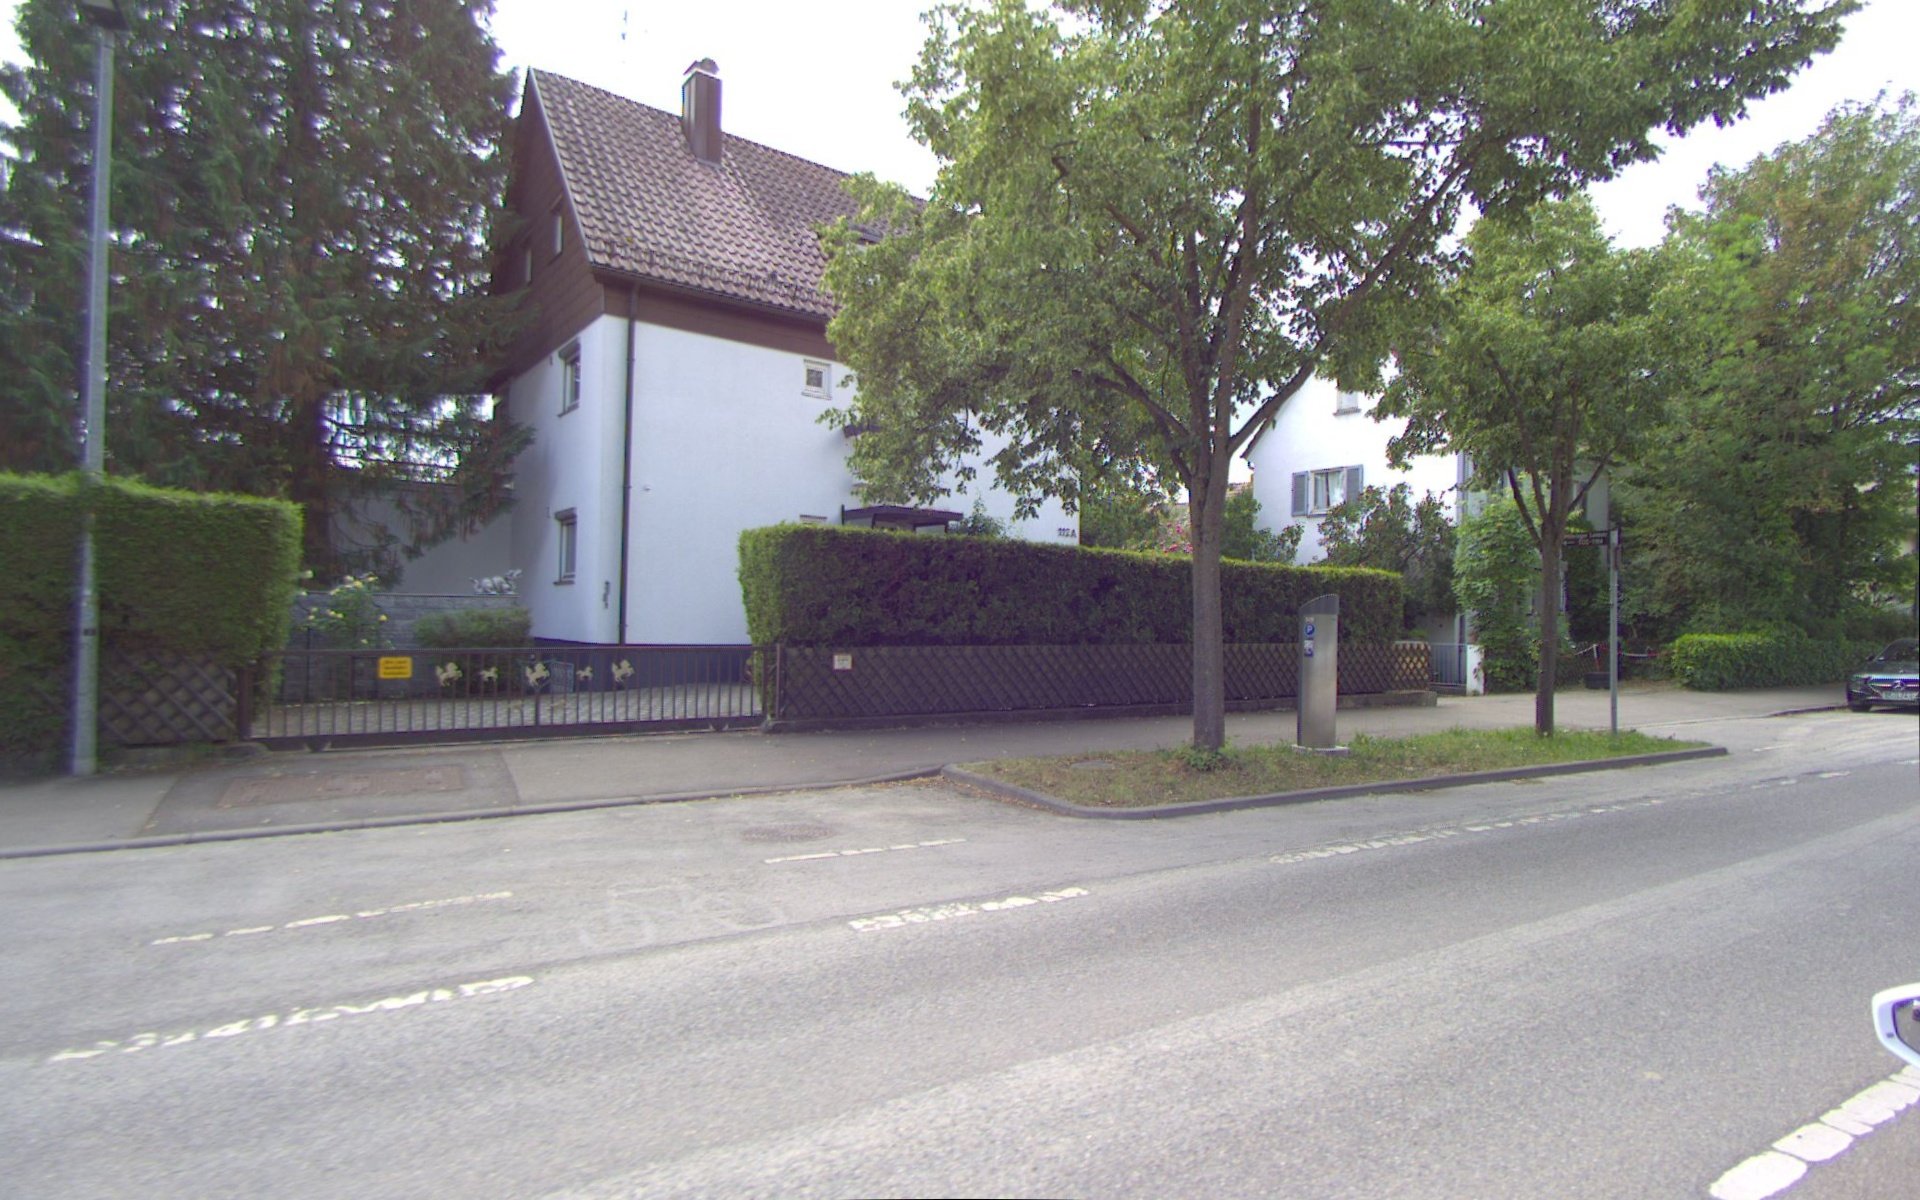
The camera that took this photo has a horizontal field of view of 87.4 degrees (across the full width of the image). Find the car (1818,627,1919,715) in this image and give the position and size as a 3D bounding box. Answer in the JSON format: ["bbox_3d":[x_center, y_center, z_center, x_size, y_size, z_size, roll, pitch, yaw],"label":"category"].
[{"bbox_3d":[20.034,1.406,20.877,4.986,1.668,2.082,1,-2,-34],"label":"car"}]
